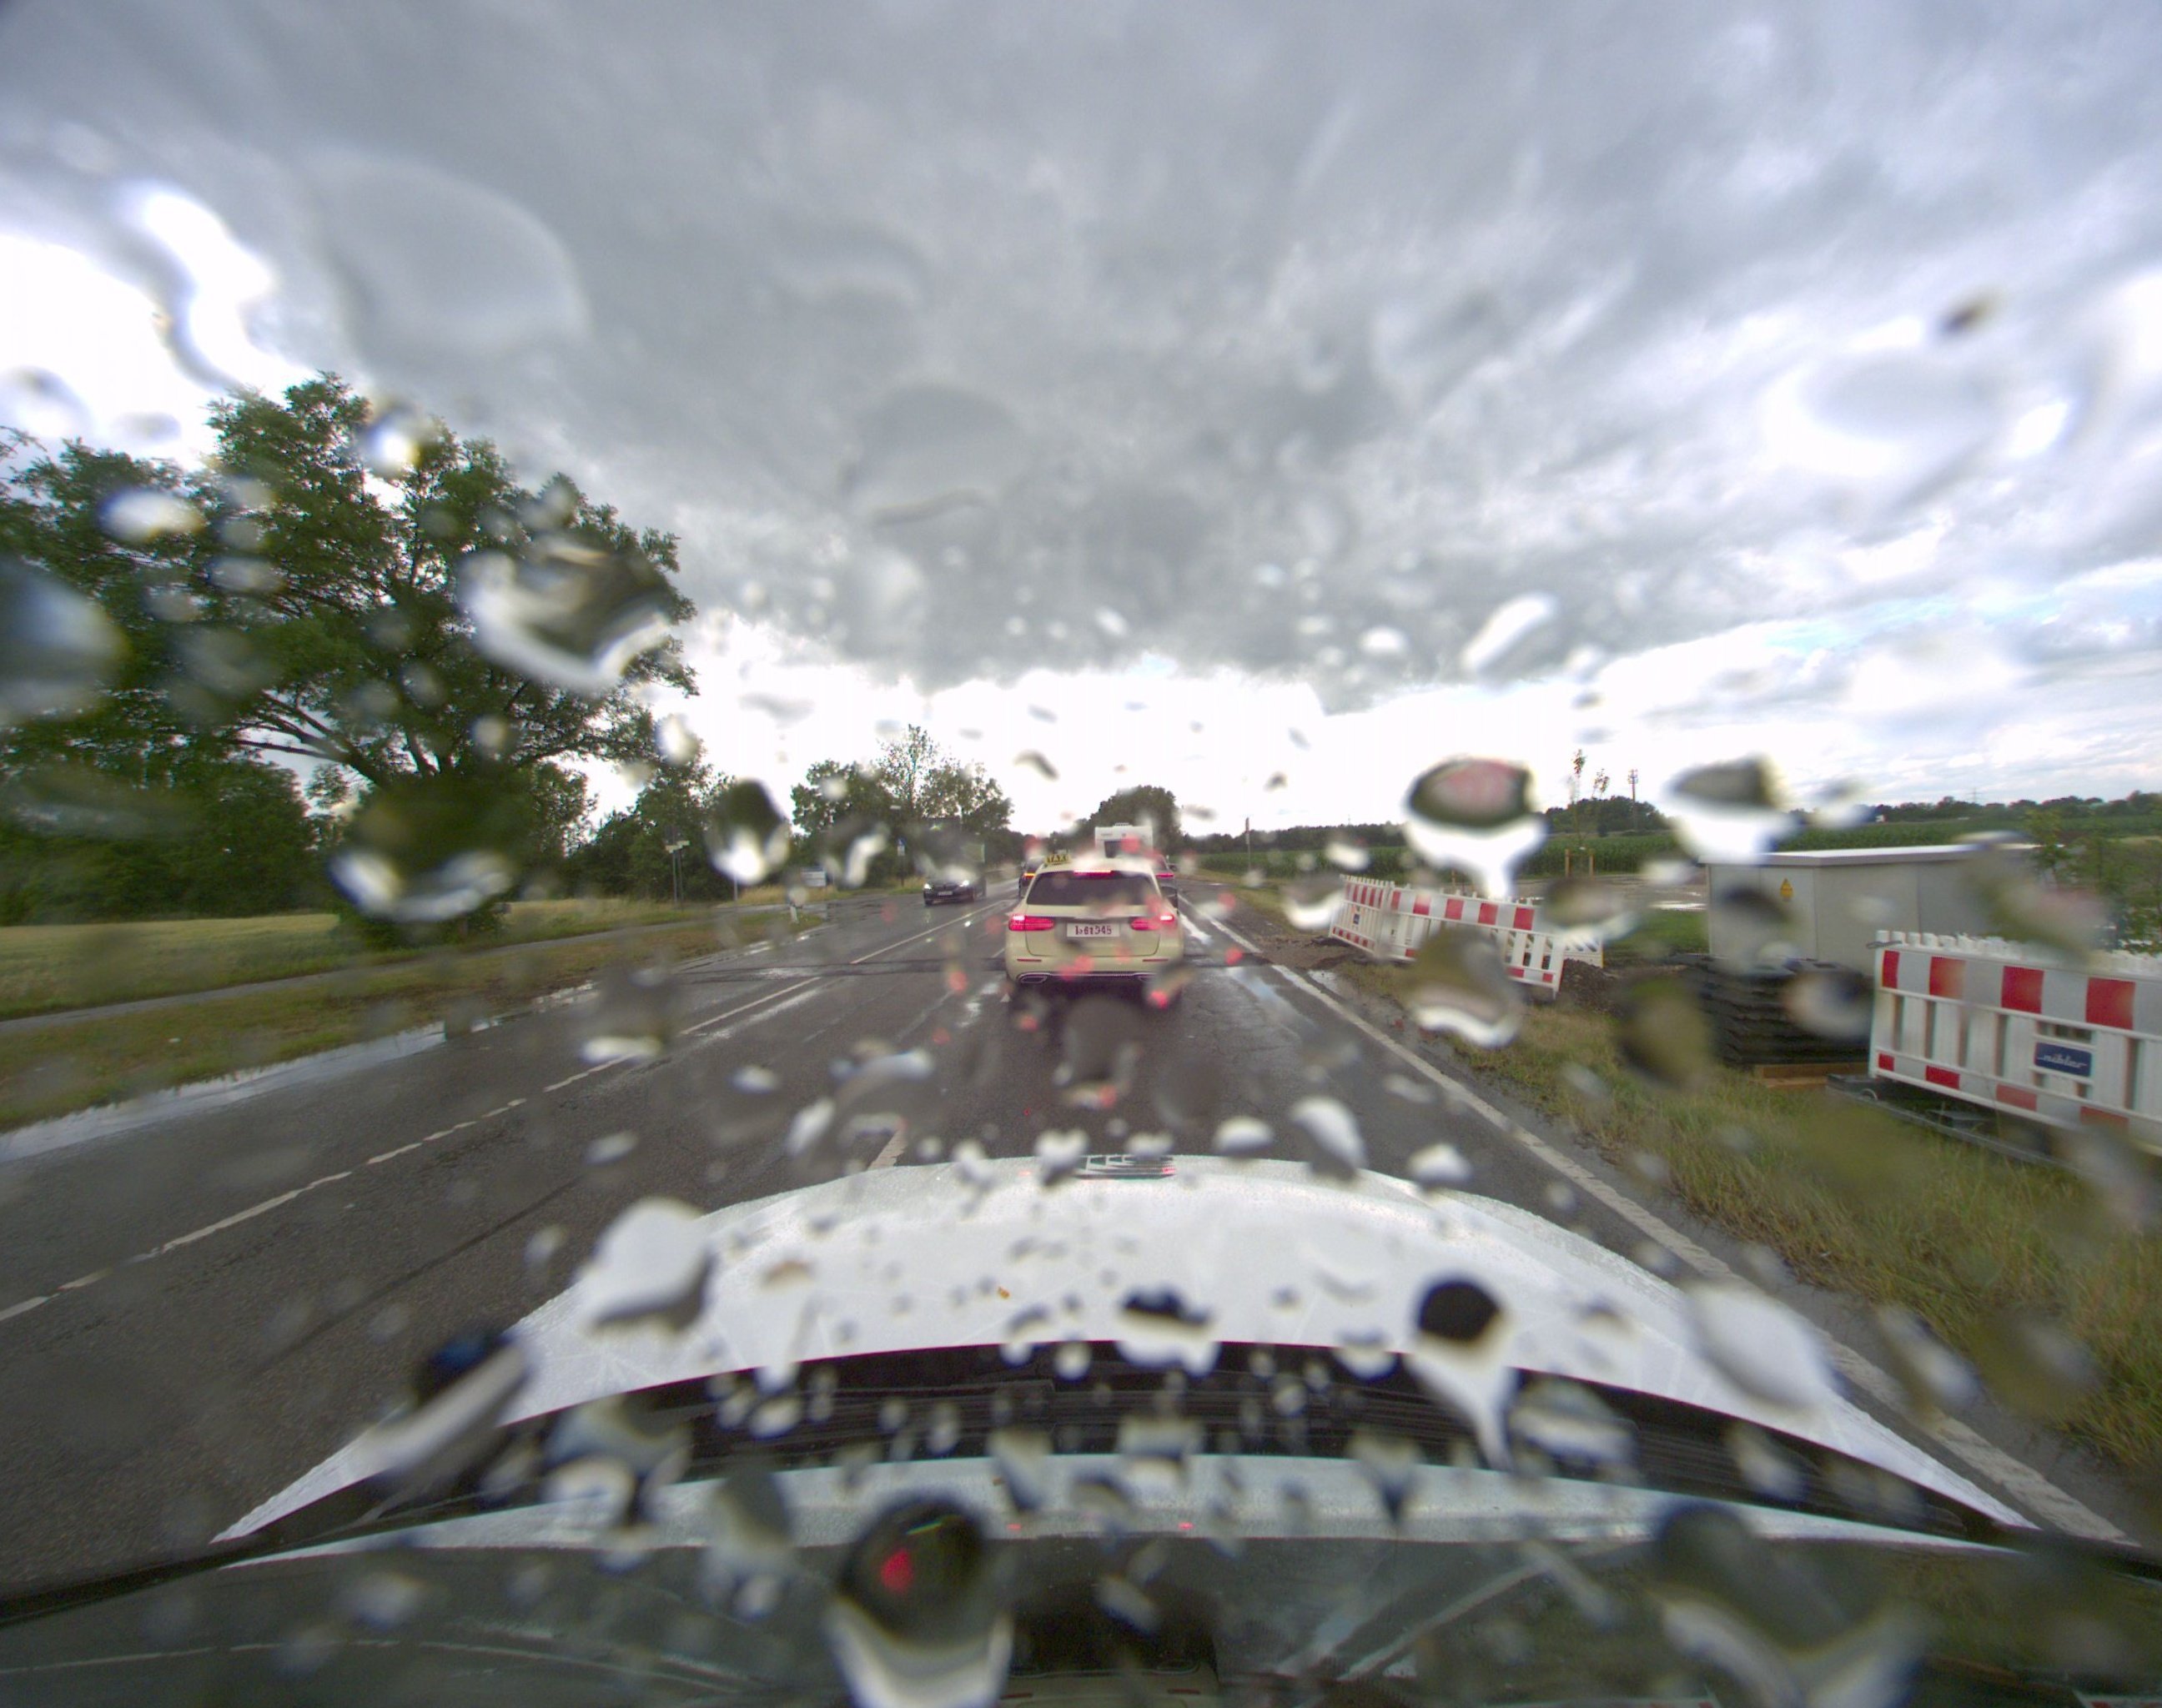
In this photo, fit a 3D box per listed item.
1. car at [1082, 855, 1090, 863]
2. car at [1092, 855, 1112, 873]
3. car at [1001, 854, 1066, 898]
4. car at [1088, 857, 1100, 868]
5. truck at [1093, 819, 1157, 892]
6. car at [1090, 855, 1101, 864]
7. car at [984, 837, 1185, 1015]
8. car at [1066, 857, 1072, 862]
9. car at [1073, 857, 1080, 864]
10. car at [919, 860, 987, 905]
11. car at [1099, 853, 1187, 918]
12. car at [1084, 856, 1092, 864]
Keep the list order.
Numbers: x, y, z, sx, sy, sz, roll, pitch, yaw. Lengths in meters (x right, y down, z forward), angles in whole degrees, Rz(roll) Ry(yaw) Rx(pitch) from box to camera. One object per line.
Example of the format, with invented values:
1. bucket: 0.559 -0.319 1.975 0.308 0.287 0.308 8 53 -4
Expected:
1. car: 1.296 1.295 210.840 1.890 1.895 3.841 -2 0 -1
2. car: 2.192 1.025 85.680 1.908 1.841 3.798 -2 0 3
3. car: -1.853 0.790 31.184 2.298 1.547 4.624 0 0 -5
4. car: 2.044 1.350 129.934 1.784 1.777 3.722 -2 0 2
5. truck: 1.816 0.053 35.176 2.354 2.729 7.317 -2 0 2
6. car: 2.804 1.041 157.867 1.988 1.772 3.997 -2 0 -2
7. car: 0.093 0.677 9.566 1.836 1.618 4.002 -1 0 2
8. car: -3.680 1.734 251.194 1.821 1.574 4.002 0 0 2
9. car: -1.318 1.943 246.245 1.888 1.839 3.883 -2 0 2
10. car: -4.676 1.009 30.299 1.713 1.404 4.045 -4 0 2
11. car: 1.485 0.734 20.658 1.986 1.462 4.001 0 0 2
12. car: 1.586 1.476 198.291 1.744 1.662 3.669 -2 0 -2
